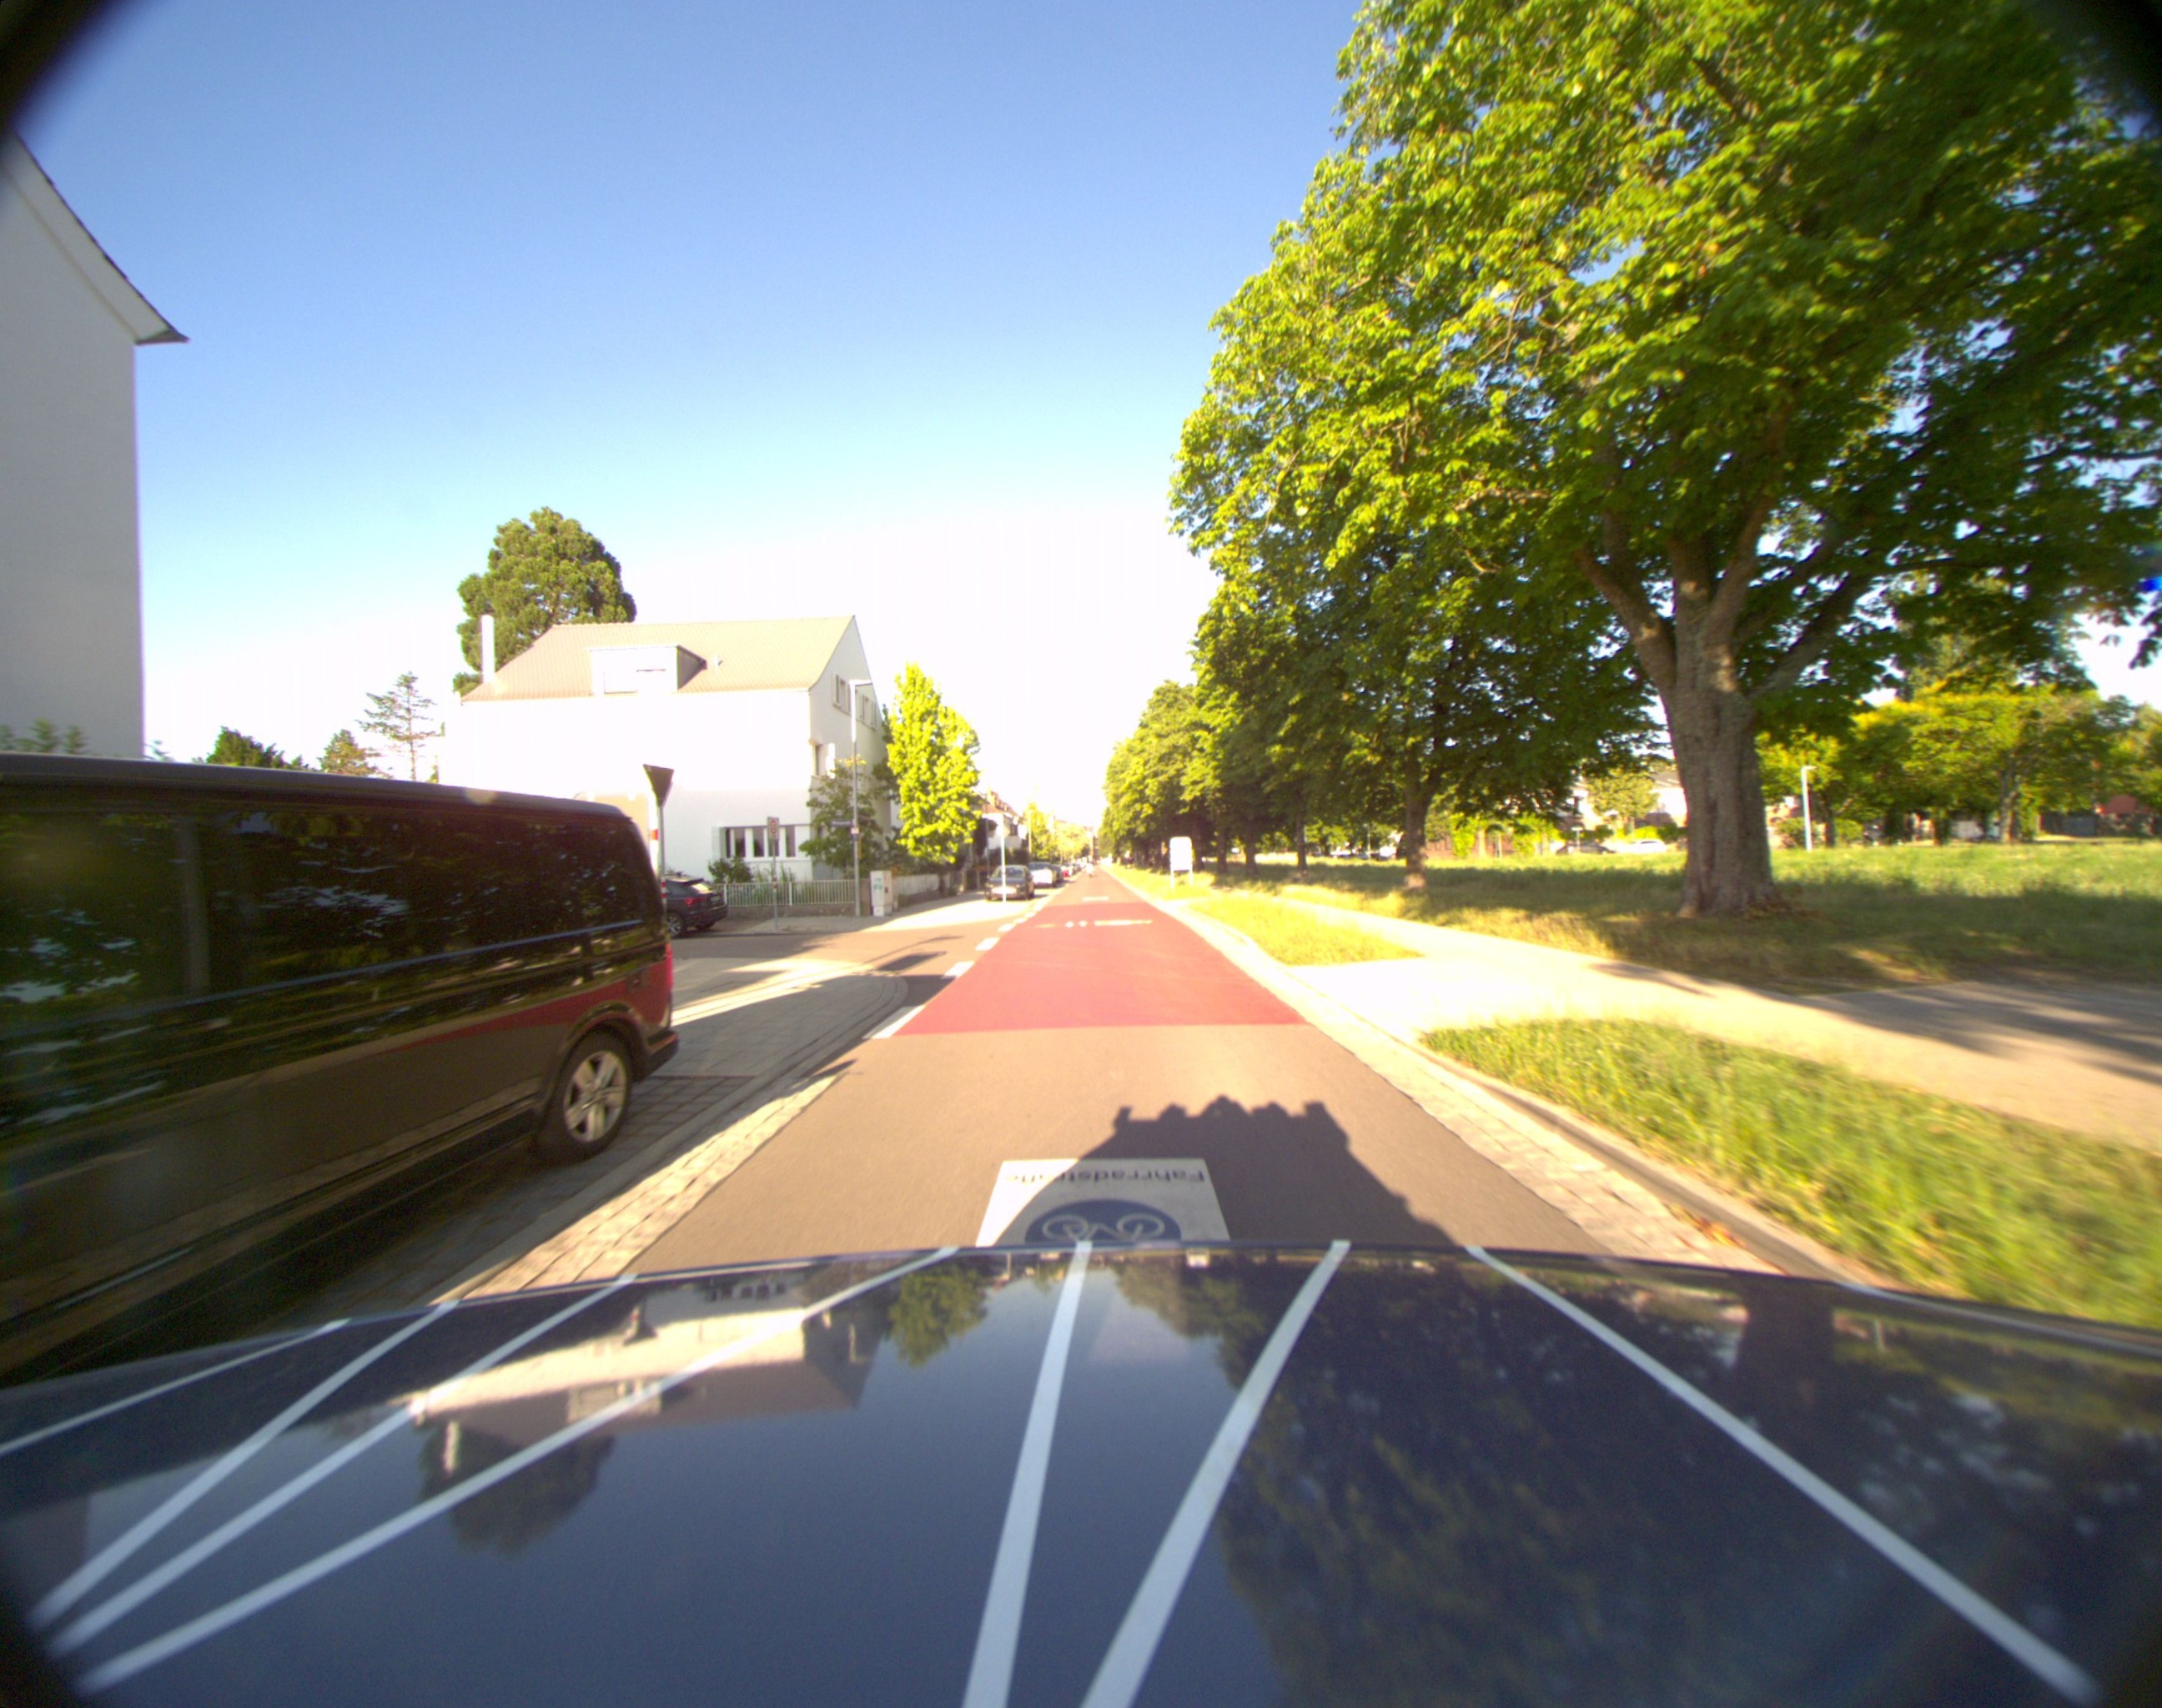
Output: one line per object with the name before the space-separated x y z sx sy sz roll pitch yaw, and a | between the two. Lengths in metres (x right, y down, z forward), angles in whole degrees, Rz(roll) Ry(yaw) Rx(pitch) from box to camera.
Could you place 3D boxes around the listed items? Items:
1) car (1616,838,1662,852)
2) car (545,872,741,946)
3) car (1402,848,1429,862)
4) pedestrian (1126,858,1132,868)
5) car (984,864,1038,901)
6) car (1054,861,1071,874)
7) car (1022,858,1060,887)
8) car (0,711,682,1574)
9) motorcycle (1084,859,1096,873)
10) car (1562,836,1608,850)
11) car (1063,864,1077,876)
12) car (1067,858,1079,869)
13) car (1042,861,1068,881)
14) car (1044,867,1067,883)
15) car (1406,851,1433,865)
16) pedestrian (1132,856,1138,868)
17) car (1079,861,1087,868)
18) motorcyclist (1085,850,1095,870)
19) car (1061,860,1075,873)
car | 58.221 -0.935 79.299 3.636 1.272 1.586 -3 0 2
car | -11.698 1.441 20.506 4.100 1.679 1.894 -3 0 -1
car | 39.144 0.114 88.976 1.585 1.472 3.640 -3 0 2
pedestrian | 7.604 1.465 120.912 0.625 1.621 0.606 -3 1 27
car | -2.941 1.203 32.701 1.798 1.473 4.125 1 -2 2
car | -1.955 1.395 81.021 1.702 1.250 3.880 -1 0 1
car | -2.456 1.158 47.719 1.910 1.698 4.577 0 -1 3
car | -3.582 0.710 2.448 1.910 2.119 4.815 0 -1 2
motorcycle | 0.909 1.222 78.197 1.077 1.373 2.463 -3 0 0
car | 52.475 -1.096 79.188 3.636 1.272 1.586 -3 0 2
car | -1.426 2.066 99.435 1.745 1.471 4.057 -2 -1 0
car | -1.152 1.438 115.848 1.665 1.526 3.833 0 0 2
car | -2.023 1.313 59.500 1.798 1.485 4.194 0 -1 1
car | -2.232 1.812 66.741 1.798 1.372 4.079 0 -1 1
car | 44.465 0.543 99.929 1.766 1.619 4.001 -3 -1 1
pedestrian | 8.520 1.238 120.388 0.625 1.840 0.606 -2 1 40
car | 0.403 2.588 185.407 1.844 1.471 3.764 -2 -1 0
motorcyclist | 0.900 0.578 77.886 0.961 2.002 1.274 -3 0 0
car | -1.487 1.486 90.049 1.508 1.471 3.493 0 -1 2
